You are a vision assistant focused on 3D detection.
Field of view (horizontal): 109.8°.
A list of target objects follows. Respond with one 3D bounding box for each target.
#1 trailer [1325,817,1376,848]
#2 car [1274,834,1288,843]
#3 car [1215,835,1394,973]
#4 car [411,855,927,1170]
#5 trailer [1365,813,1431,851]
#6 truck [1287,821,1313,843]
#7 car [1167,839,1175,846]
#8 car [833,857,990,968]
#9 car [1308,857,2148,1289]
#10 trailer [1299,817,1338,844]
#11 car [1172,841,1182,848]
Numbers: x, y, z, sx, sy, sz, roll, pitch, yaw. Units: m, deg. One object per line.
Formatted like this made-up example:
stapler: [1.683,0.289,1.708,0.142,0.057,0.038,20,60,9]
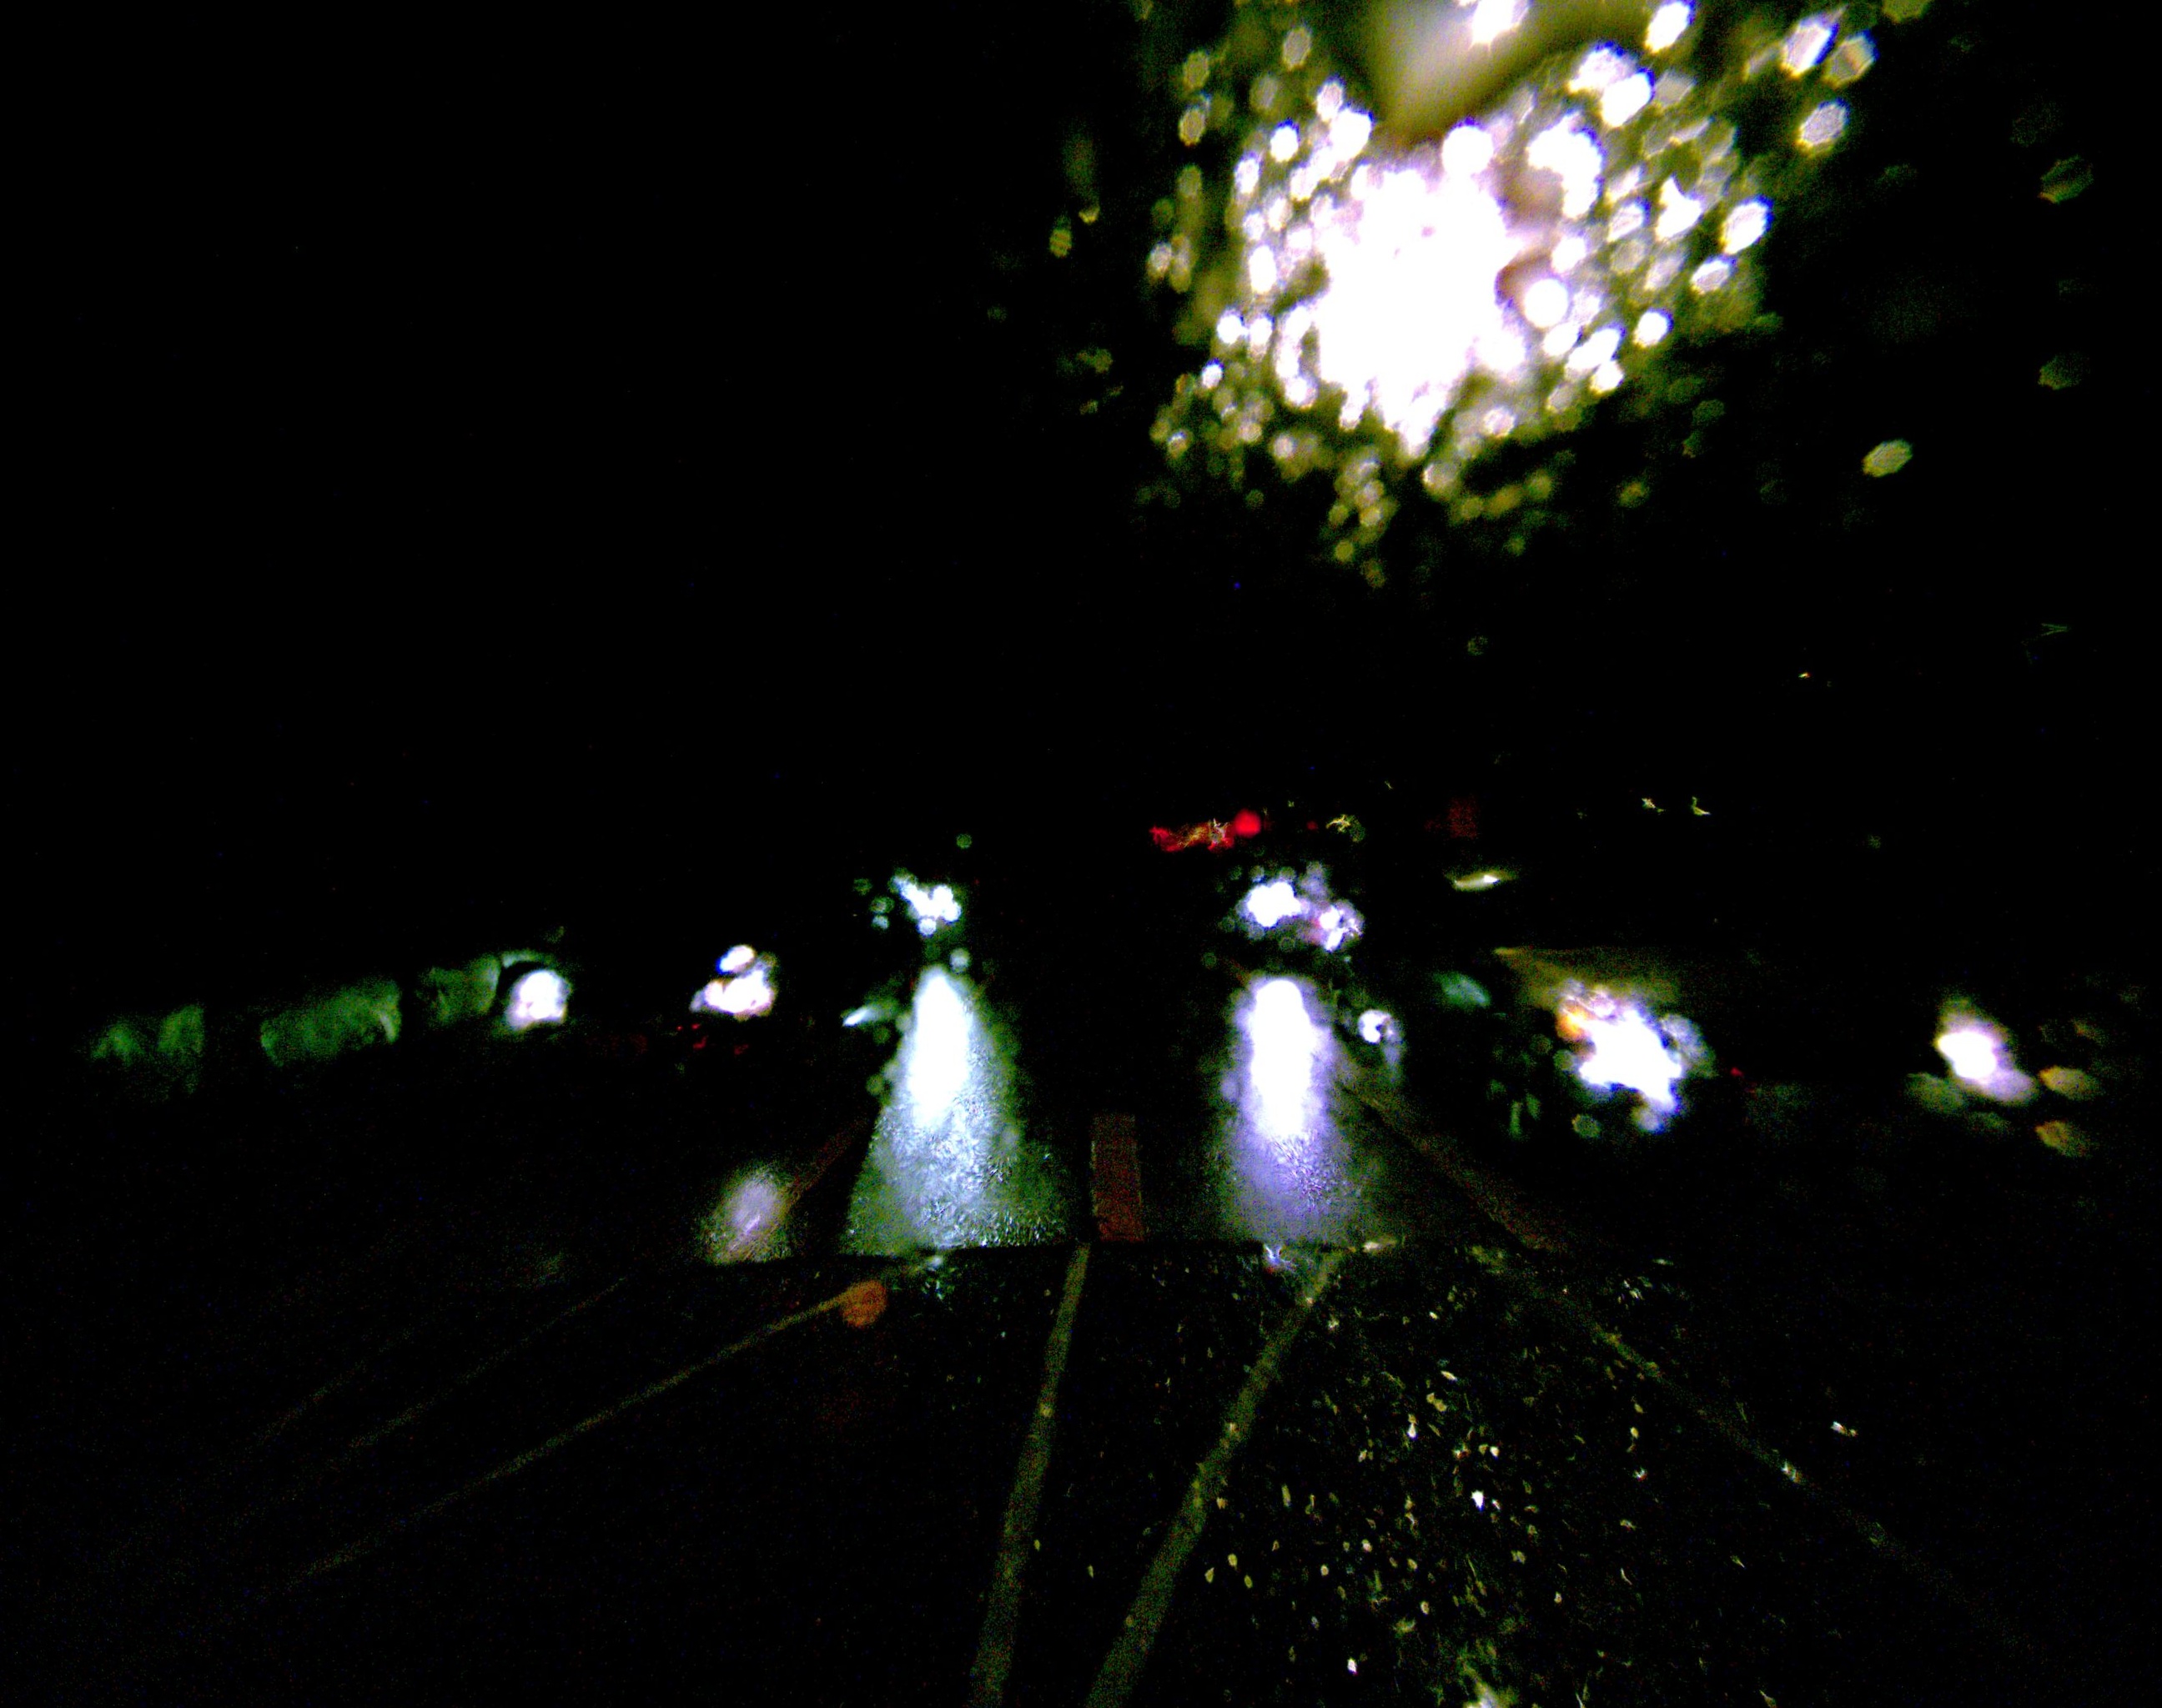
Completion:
trailer: [45.626,-3.657,129.378,3.980,4.584,15.516,-6,1,5]
car: [37.889,-2.921,143.910,1.790,1.684,4.219,-4,0,4]
car: [3.325,0.641,12.185,1.788,1.772,4.437,-2,0,4]
car: [-2.744,0.904,6.365,1.790,1.684,4.219,-2,0,3]
trailer: [44.485,-3.110,107.383,3.980,4.584,14.248,-6,1,5]
truck: [49.639,-5.036,172.409,3.446,4.584,10.213,-6,1,5]
car: [23.879,-3.101,202.540,1.806,1.579,4.031,-3,1,3]
car: [-2.960,0.942,14.285,1.788,1.638,4.436,-3,0,1]
car: [2.991,0.812,4.967,1.788,1.502,4.436,-1,1,2]
trailer: [48.323,-4.783,155.327,3.980,4.984,14.836,-6,1,5]
car: [22.800,-2.200,179.950,1.765,1.632,4.652,-3,1,2]
